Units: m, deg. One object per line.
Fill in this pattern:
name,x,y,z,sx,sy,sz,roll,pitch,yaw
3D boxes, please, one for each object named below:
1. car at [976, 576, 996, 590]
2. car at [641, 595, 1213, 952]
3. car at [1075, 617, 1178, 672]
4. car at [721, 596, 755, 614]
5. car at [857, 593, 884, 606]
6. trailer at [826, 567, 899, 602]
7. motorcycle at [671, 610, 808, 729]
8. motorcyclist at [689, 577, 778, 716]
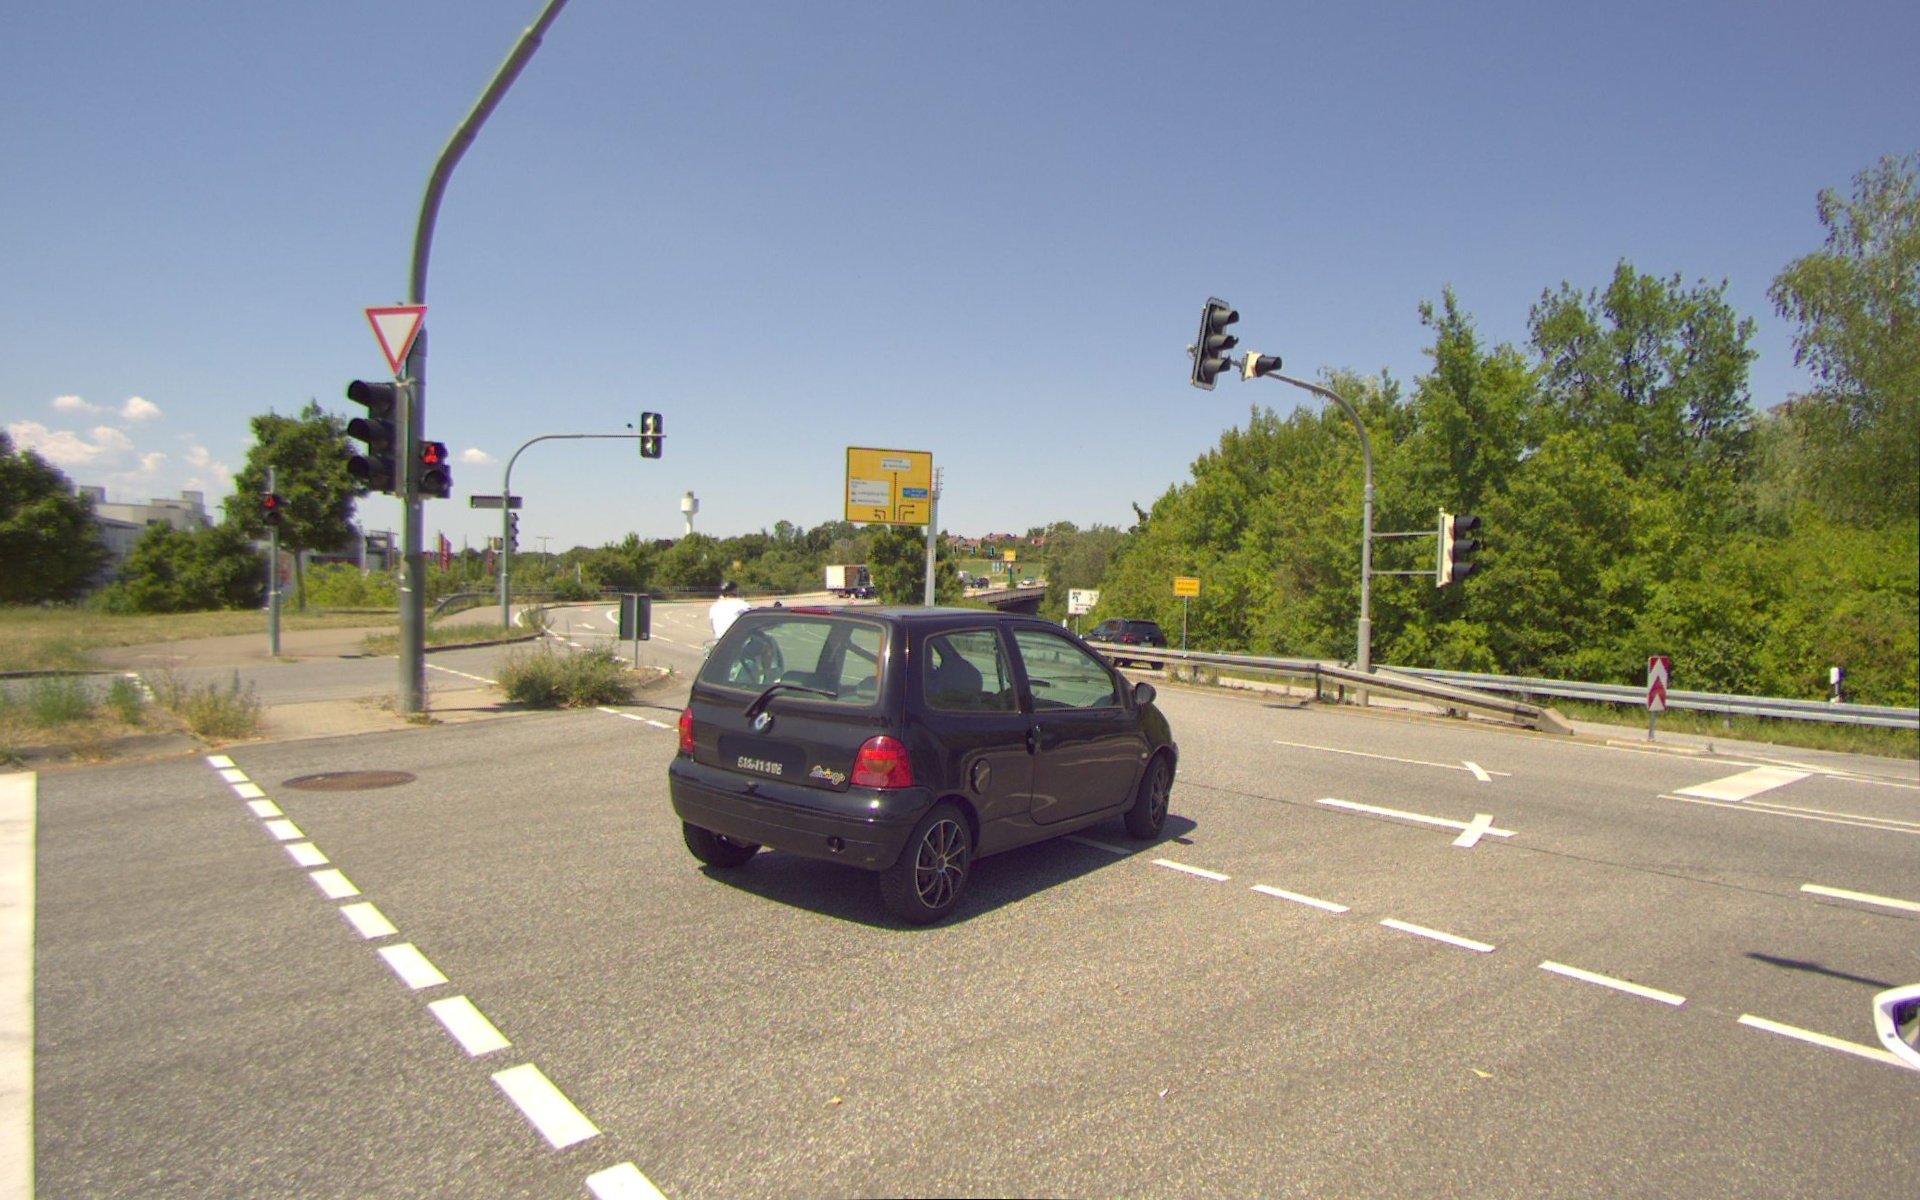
car,4.020,-2.585,156.835,1.960,2.040,4.000,2,0,19
car,0.044,0.759,5.862,1.599,1.426,3.288,1,-2,37
car,5.680,1.482,34.823,1.873,1.653,4.263,5,-2,-14
car,-20.082,0.433,91.008,1.613,1.413,3.993,5,-1,8
car,-11.023,-0.051,124.455,1.776,1.452,3.929,4,-1,20
trailer,-12.501,-2.088,131.143,3.178,4.306,15.405,2,2,19
motorcycle,-2.554,0.760,11.881,0.567,1.255,1.940,3,1,21
motorcyclist,-2.662,0.528,11.866,0.601,1.560,0.847,3,1,21
